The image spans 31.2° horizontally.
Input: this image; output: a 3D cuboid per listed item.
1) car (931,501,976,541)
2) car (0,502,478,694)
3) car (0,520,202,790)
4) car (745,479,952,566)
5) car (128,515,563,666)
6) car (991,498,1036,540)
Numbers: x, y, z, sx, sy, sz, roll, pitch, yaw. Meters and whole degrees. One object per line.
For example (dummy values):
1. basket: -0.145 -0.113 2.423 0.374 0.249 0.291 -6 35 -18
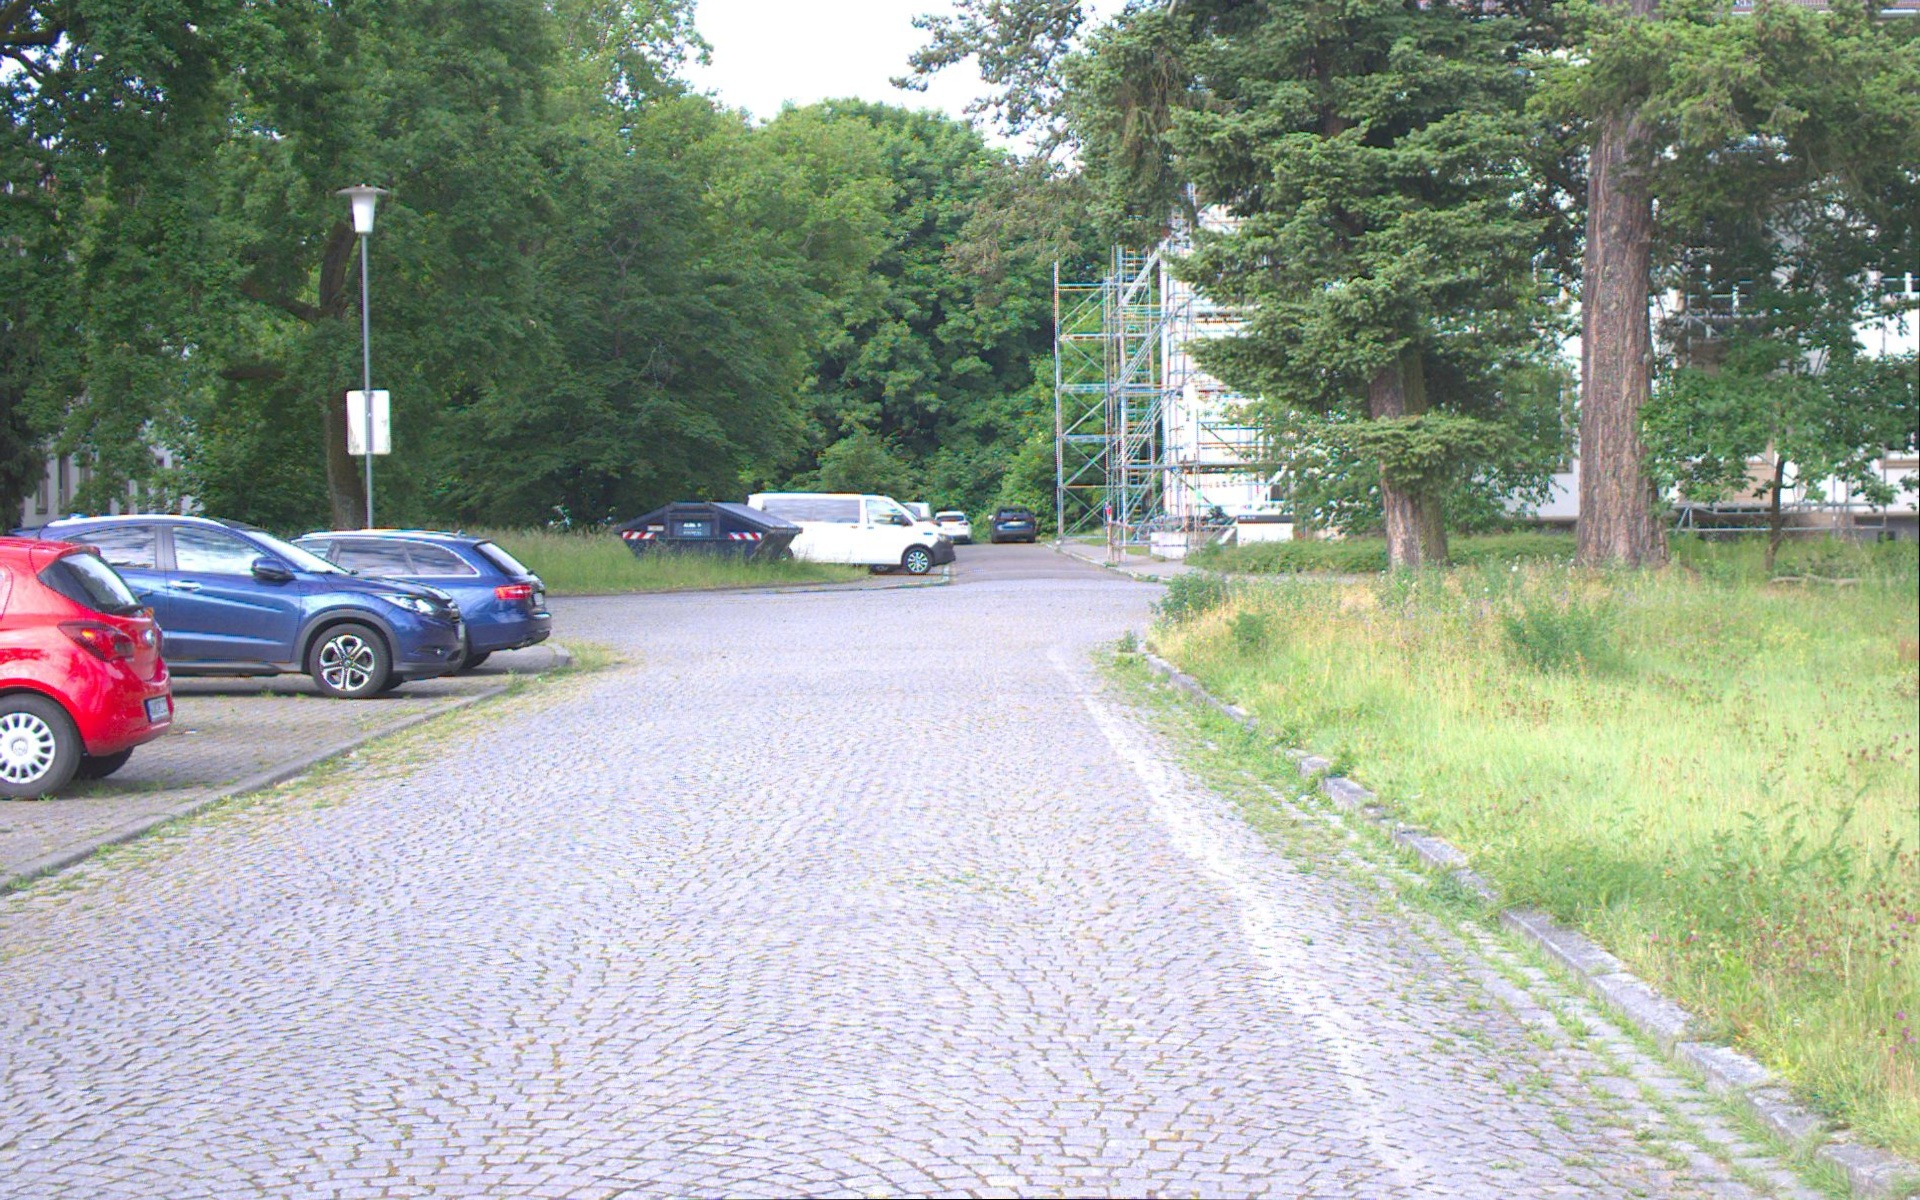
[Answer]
1. car: -0.298 -3.425 149.913 1.790 1.630 4.061 -1 0 -2
2. car: -6.391 -0.044 30.257 4.071 1.598 1.788 0 2 -1
3. car: -6.516 0.298 20.011 3.815 1.484 1.788 0 2 -1
4. car: -2.701 -1.877 83.890 4.978 2.065 2.052 0 0 -1
5. car: -6.206 -0.110 34.953 4.072 1.462 1.626 0 2 4
6. car: 2.325 -3.517 150.222 1.790 1.714 4.061 -1 0 -2
